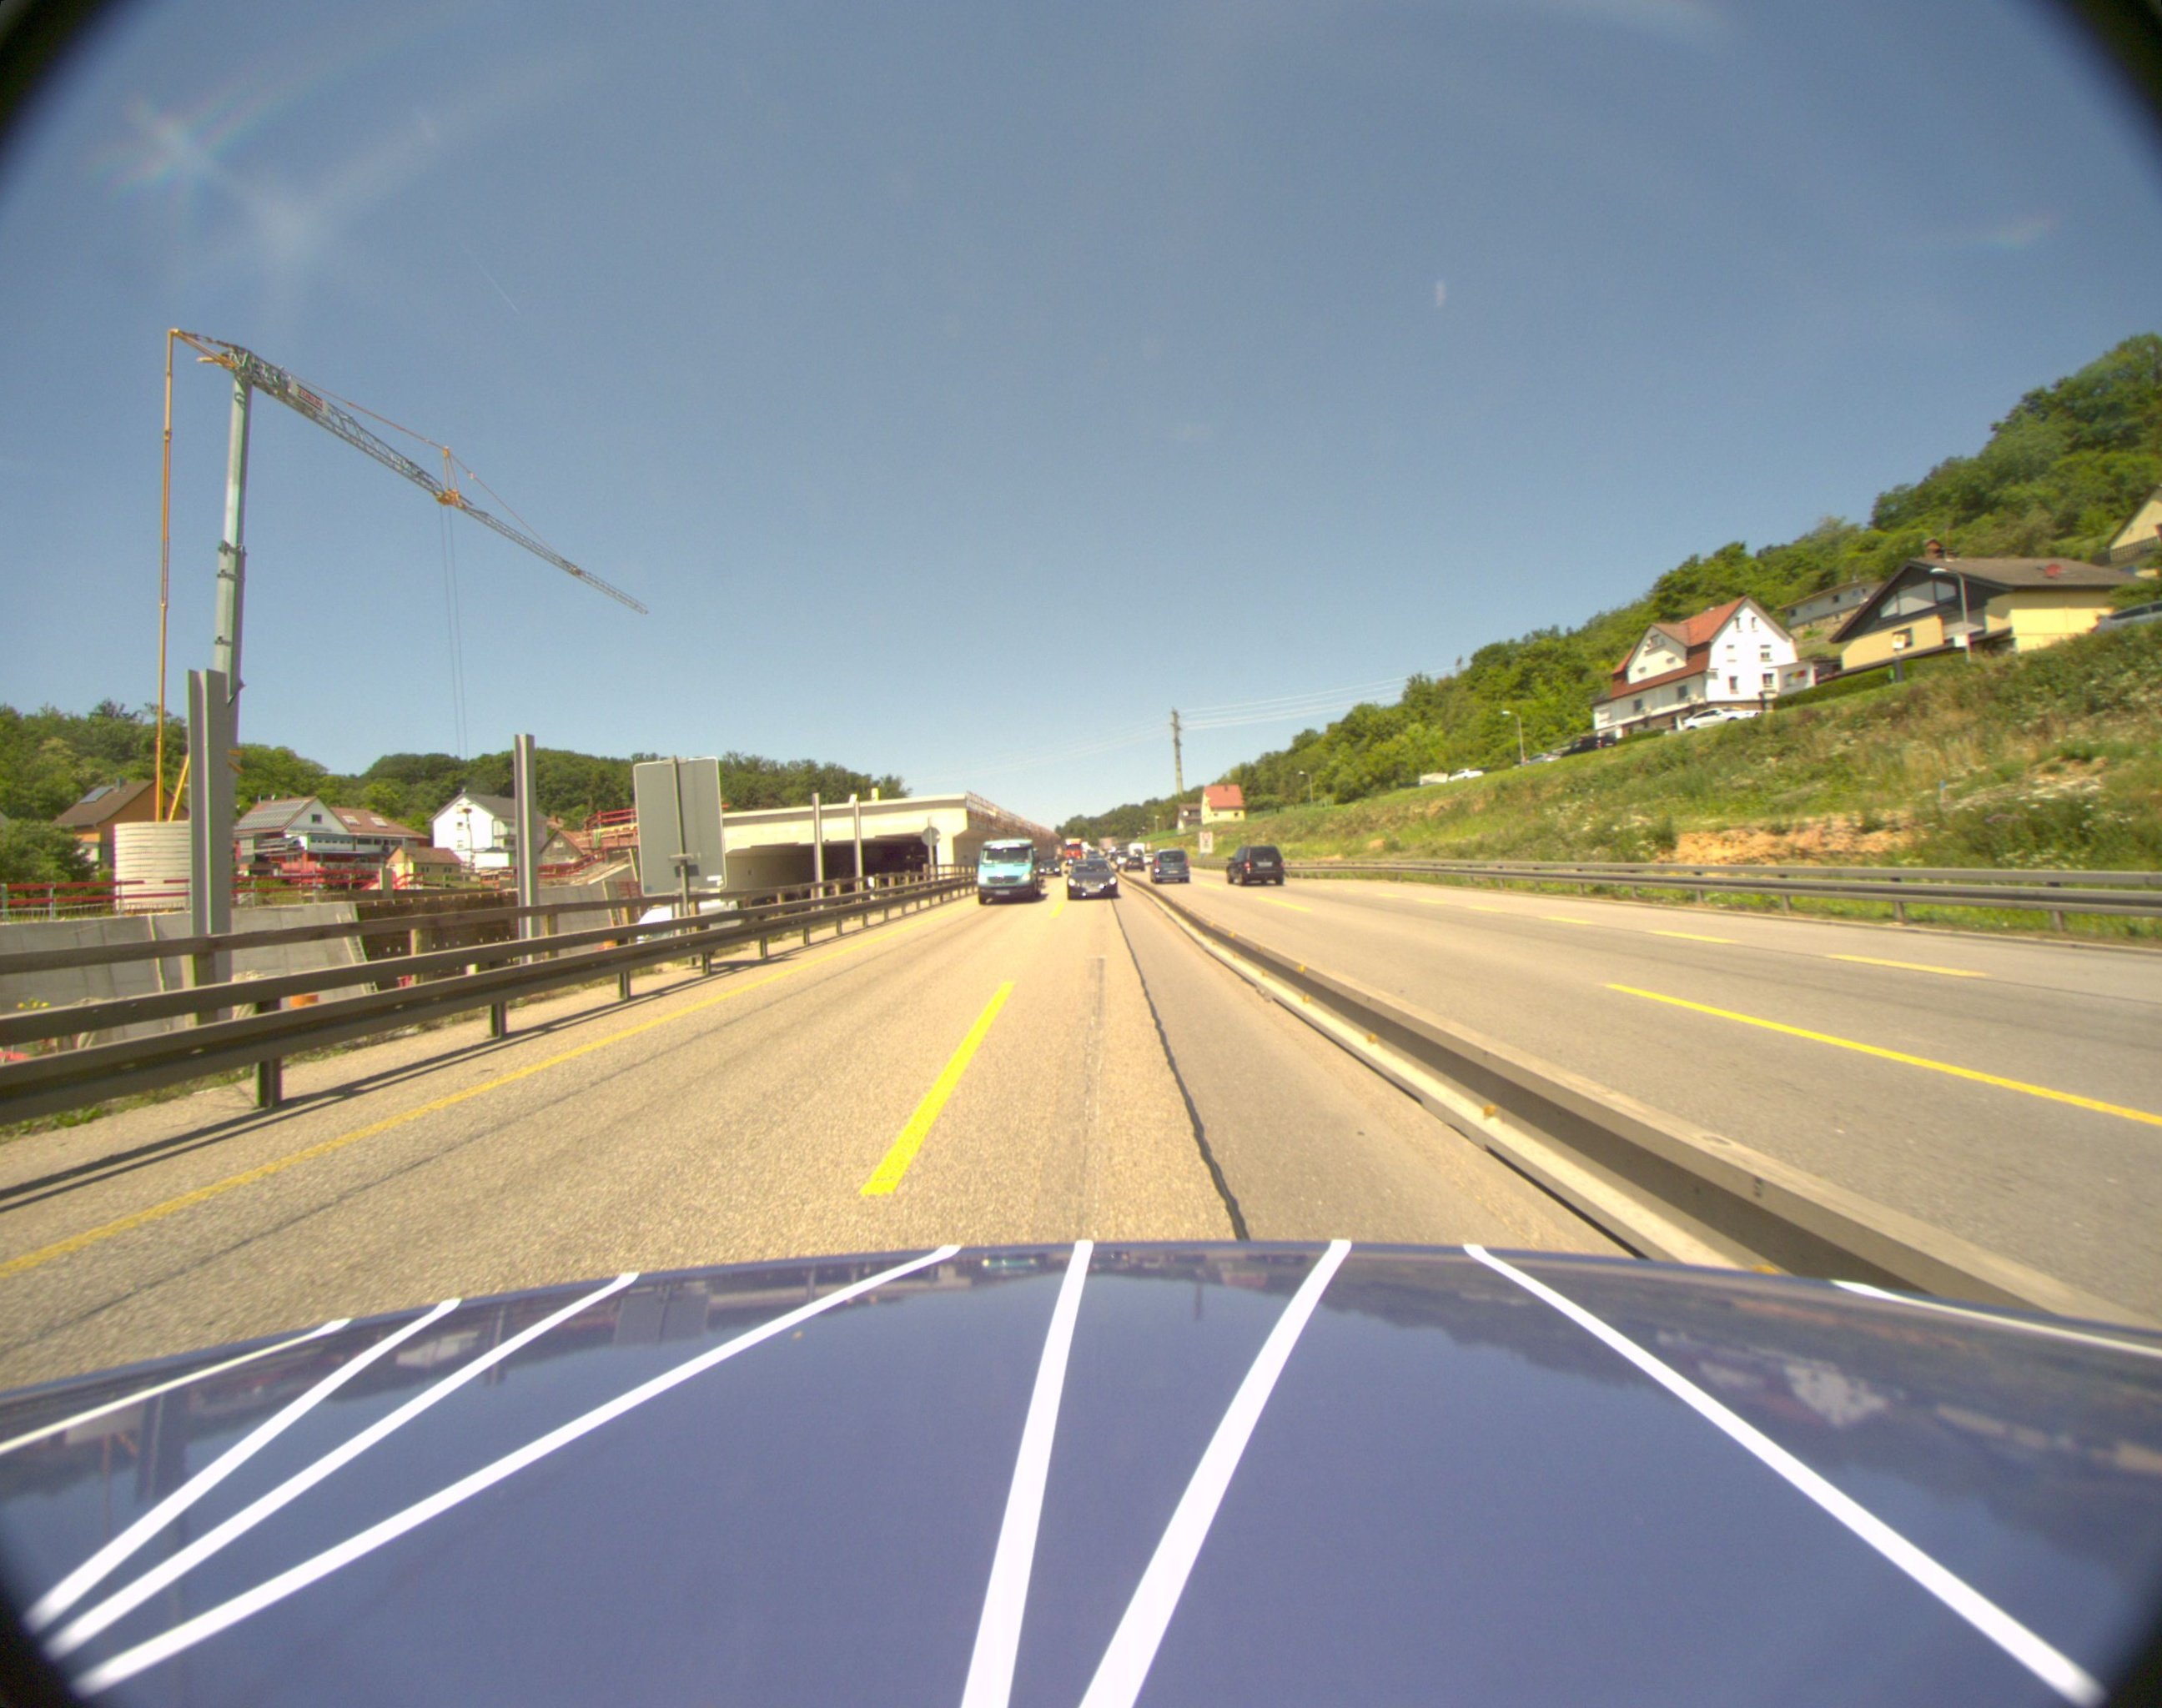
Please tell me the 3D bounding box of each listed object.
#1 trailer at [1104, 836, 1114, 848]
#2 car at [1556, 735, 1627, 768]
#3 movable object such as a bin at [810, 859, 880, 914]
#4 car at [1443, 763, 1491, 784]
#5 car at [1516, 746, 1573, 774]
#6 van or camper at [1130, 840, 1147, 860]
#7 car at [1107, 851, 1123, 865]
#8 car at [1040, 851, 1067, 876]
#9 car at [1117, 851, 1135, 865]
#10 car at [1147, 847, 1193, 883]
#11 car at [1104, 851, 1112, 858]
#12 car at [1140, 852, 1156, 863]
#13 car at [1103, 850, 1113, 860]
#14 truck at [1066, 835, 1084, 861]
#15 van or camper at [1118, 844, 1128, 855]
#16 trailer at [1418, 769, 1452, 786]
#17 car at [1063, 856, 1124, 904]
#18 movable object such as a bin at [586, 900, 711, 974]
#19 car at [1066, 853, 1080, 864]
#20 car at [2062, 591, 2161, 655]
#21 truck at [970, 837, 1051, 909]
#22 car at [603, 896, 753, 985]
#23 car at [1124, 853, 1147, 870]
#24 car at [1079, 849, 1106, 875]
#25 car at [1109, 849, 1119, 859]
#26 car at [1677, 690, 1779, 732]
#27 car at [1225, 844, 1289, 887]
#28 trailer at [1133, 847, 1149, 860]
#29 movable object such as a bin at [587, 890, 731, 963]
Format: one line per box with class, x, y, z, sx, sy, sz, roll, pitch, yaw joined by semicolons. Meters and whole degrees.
trailer;9.423;-3.962;255.424;2.937;3.966;8.704;-2;1;-1
car;40.907;-8.180;61.062;2.077;1.997;4.970;-2;1;-4
movable object such as a bin;-20.426;2.672;66.356;2.961;4.040;9.154;-2;1;1
car;38.842;-8.125;76.636;2.000;1.646;4.548;-3;1;-9
car;40.254;-8.137;66.162;1.999;1.861;4.428;-2;1;-5
van or camper;9.557;-0.651;126.855;2.297;3.048;6.923;-2;0;1
car;4.835;0.544;109.337;1.915;2.002;4.905;-2;0;0
car;-2.190;0.765;61.831;1.885;1.805;4.249;-2;1;1
car;5.311;0.439;89.270;1.811;1.630;4.172;-2;0;0
car;4.624;0.547;40.245;1.850;1.767;4.882;-2;0;1
car;6.369;0.125;178.792;1.847;1.467;4.834;-2;0;1
car;8.974;0.460;102.234;1.814;1.423;4.555;-3;0;1
car;5.252;0.114;148.415;1.842;1.817;5.040;-2;0;0
truck;-1.026;-1.118;132.231;2.750;4.222;9.093;-2;1;1
van or camper;10.414;-1.080;188.713;2.145;2.558;6.564;-3;0;1
trailer;38.114;-8.209;81.828;1.908;1.507;3.034;-3;1;-10
car;0.470;0.885;27.755;1.998;1.441;4.601;-2;1;2
movable object such as a bin;-19.922;3.727;35.380;2.149;2.661;5.501;-2;1;5
car;-1.155;0.631;111.048;1.883;1.532;4.281;-2;1;1
car;42.453;-9.263;30.054;1.999;1.784;3.997;-2;1;-6
truck;-2.529;0.561;29.382;2.139;2.344;7.432;-2;1;2
car;-17.183;3.581;33.030;2.149;2.840;7.023;-2;1;5
car;4.949;0.654;69.519;1.802;1.458;4.355;-1;0;1
car;0.914;0.567;58.774;1.884;1.805;4.250;-2;1;3
car;5.501;-0.016;126.162;1.487;1.496;2.805;-2;0;1
car;41.796;-9.200;49.270;1.999;1.784;5.008;-2;1;-6
car;7.758;0.469;33.930;1.832;1.755;4.497;-1;0;1
trailer;9.483;-0.059;120.937;2.106;1.883;5.141;-2;0;1
movable object such as a bin;-24.805;4.273;44.690;7.141;2.883;3.503;-11;-2;23
